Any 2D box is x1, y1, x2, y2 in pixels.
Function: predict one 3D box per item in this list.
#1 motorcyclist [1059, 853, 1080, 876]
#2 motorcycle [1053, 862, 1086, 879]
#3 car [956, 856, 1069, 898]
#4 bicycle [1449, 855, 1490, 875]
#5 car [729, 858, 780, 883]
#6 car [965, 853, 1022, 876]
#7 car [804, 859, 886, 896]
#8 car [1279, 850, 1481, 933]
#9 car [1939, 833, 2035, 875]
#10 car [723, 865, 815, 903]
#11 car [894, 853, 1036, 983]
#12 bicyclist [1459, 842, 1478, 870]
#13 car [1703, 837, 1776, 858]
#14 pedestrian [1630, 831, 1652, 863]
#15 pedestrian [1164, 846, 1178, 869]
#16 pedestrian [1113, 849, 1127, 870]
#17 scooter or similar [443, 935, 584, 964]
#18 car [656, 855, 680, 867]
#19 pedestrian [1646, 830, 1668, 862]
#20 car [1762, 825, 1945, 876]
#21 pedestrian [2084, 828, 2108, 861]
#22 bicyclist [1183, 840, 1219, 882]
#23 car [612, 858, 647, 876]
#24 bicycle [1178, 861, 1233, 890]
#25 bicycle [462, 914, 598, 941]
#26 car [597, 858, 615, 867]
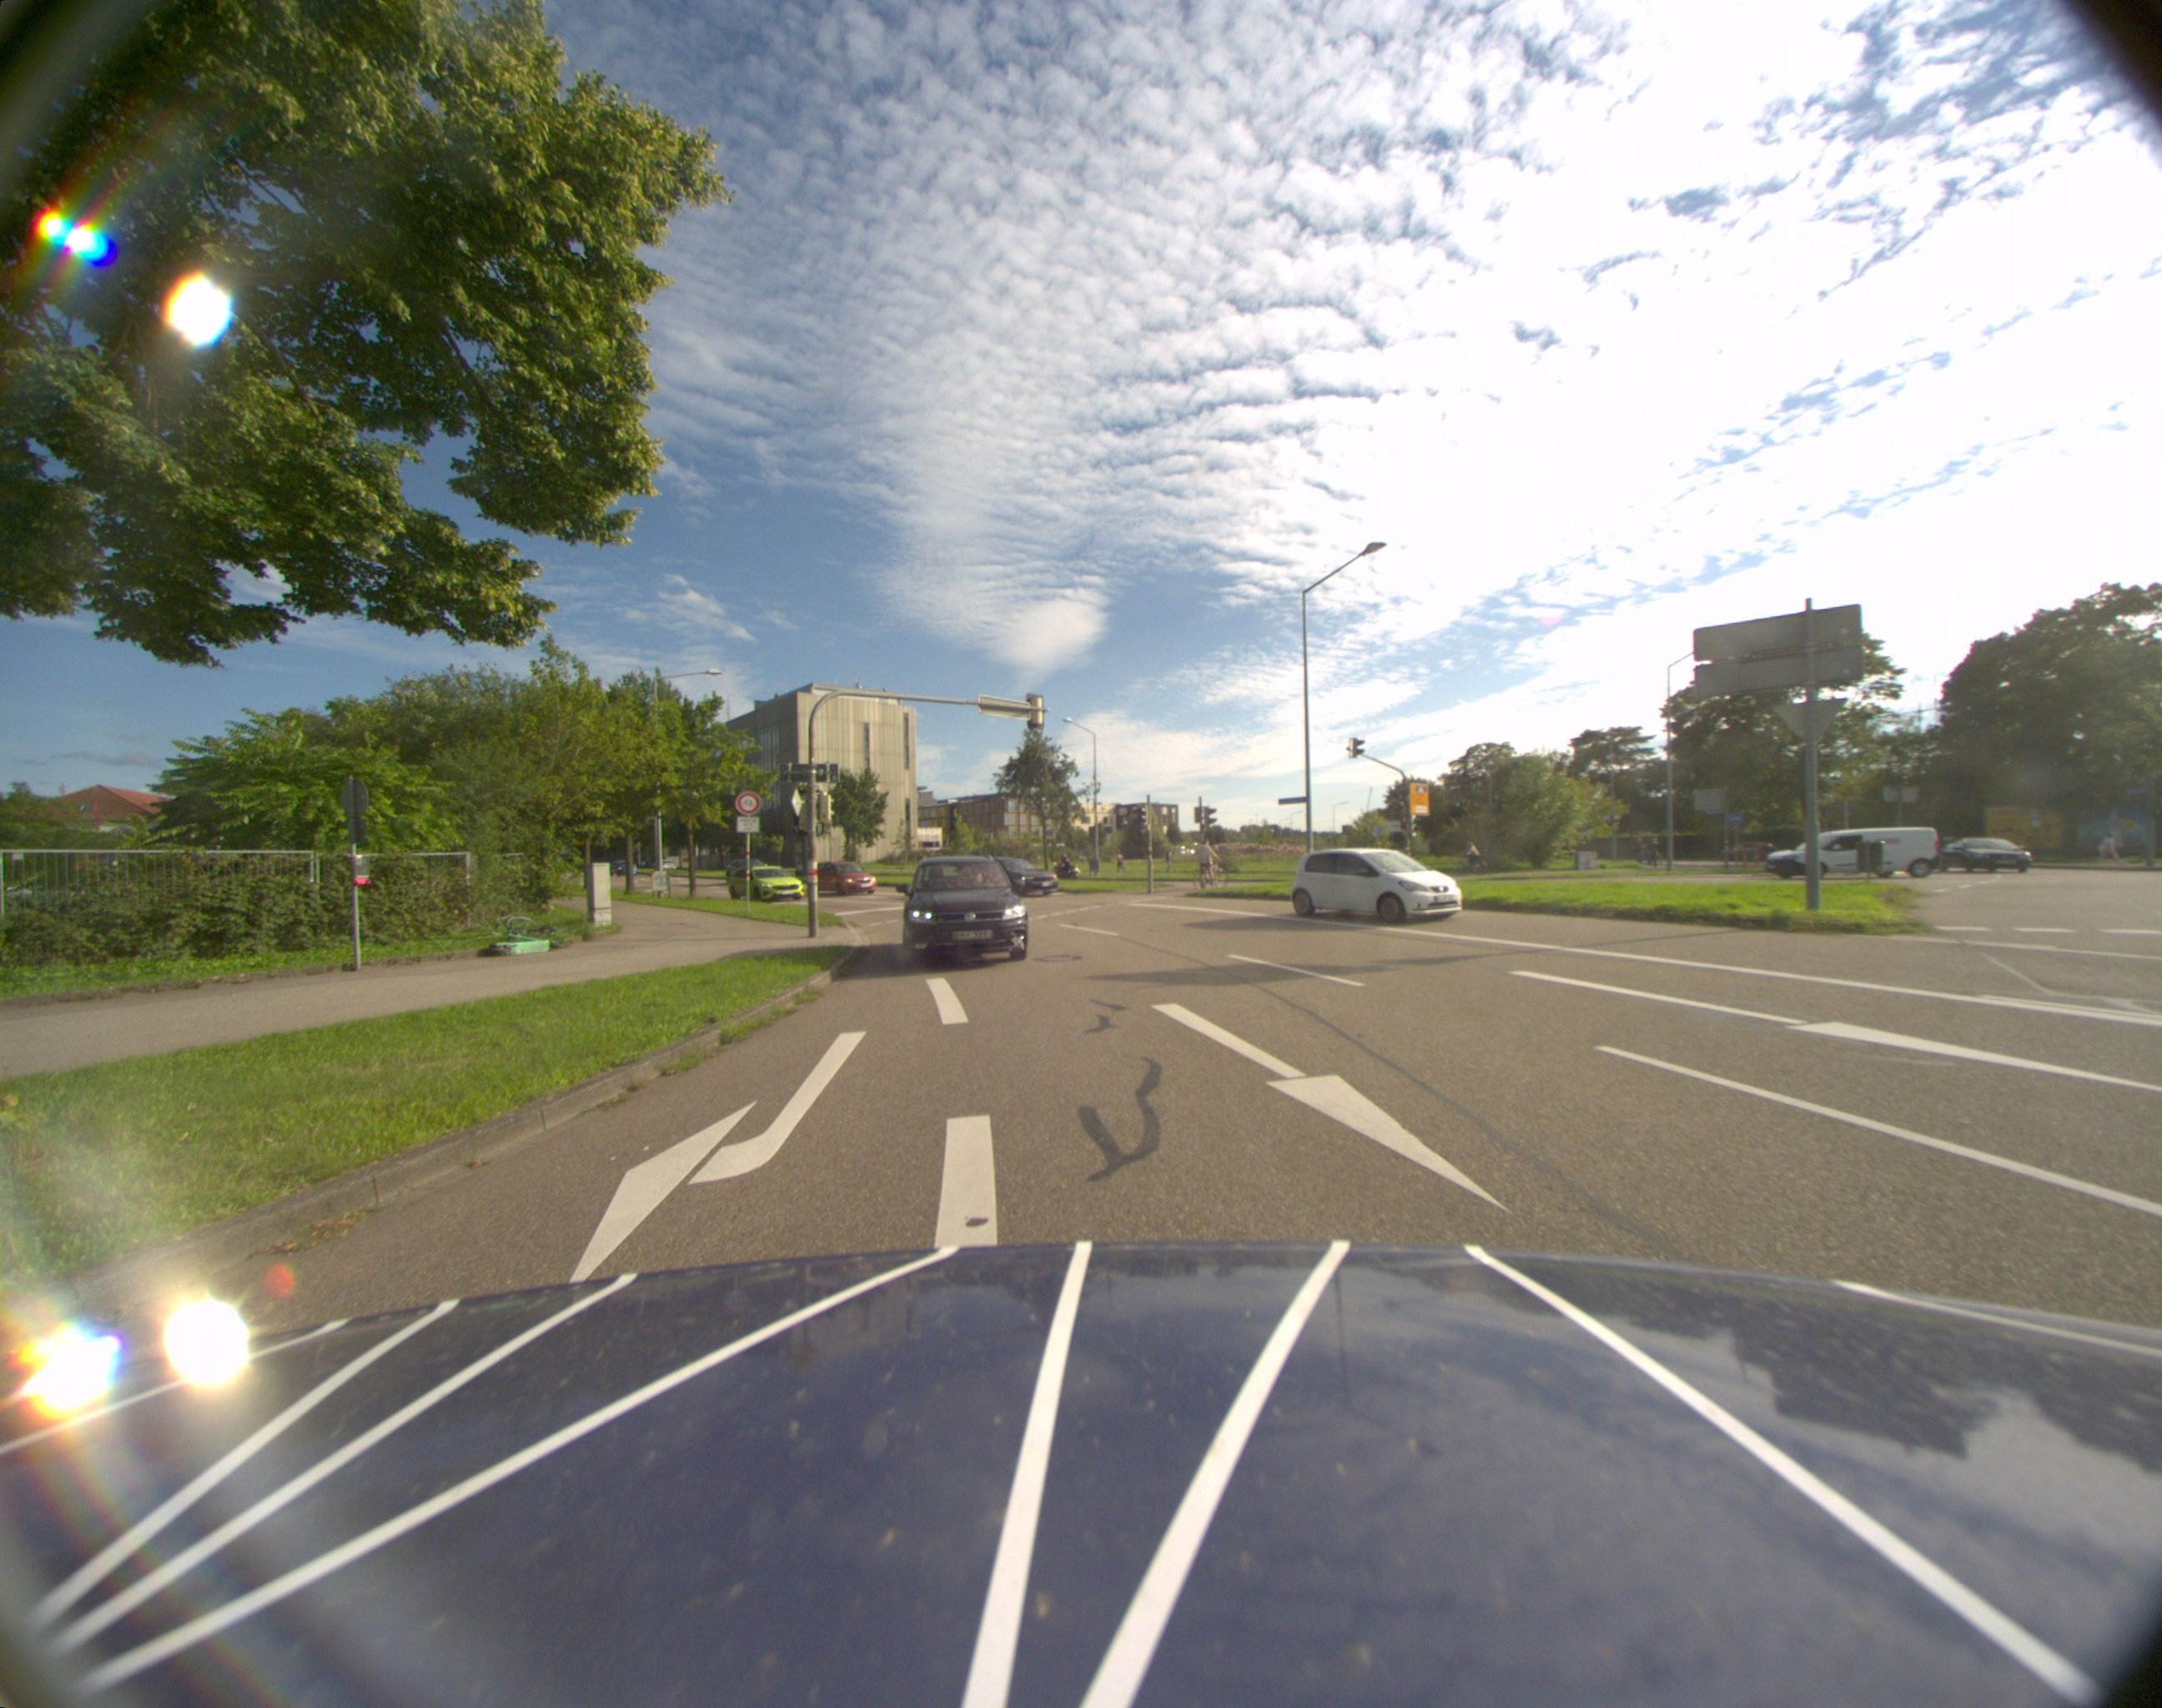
[{"bbox_3d":[-0.693,0.624,45.696,0.940,1.358,0.786,0,1,45],"label":"motorcyclist"},{"bbox_3d":[-0.705,0.959,45.722,2.018,0.981,0.786,-1,1,44],"label":"motorcycle"},{"bbox_3d":[-2.673,0.825,28.879,1.828,1.412,4.434,-4,2,-44],"label":"car"},{"bbox_3d":[20.116,0.558,39.396,1.837,0.983,0.610,-1,3,-2],"label":"bicycle"},{"bbox_3d":[-21.177,1.042,49.220,1.698,1.466,4.215,-3,1,-43],"label":"car"},{"bbox_3d":[-5.982,0.728,51.510,1.787,1.492,3.983,1,-1,-44],"label":"car"},{"bbox_3d":[-10.639,1.017,34.150,4.215,1.466,1.698,-1,2,45],"label":"car"},{"bbox_3d":[6.143,0.676,15.993,1.769,1.456,3.651,-3,2,-28],"label":"car"},{"bbox_3d":[37.297,-0.025,31.395,1.681,1.493,4.001,-1,2,37],"label":"car"},{"bbox_3d":[-13.172,1.211,31.949,1.901,1.412,4.595,-3,1,-45],"label":"car"},{"bbox_3d":[-2.117,0.876,13.024,1.873,1.646,5.009,-3,1,-12],"label":"car"},{"bbox_3d":[20.086,0.095,39.386,0.698,1.438,0.610,-1,2,-3],"label":"bicyclist"},{"bbox_3d":[49.052,-0.501,56.681,1.768,1.412,3.997,-2,1,-6],"label":"car"},{"bbox_3d":[34.156,-0.440,46.349,0.864,1.906,0.898,-2,3,23],"label":"pedestrian"},{"bbox_3d":[6.323,0.241,53.548,0.630,1.620,0.656,-4,2,-41],"label":"pedestrian"},{"bbox_3d":[2.941,0.407,56.809,0.629,1.500,0.754,-6,4,-40],"label":"pedestrian"},{"bbox_3d":[-10.011,1.669,13.472,1.290,0.279,1.556,-1,0,23],"label":"scooter or similar"},{"bbox_3d":[-51.633,0.822,94.966,1.689,1.425,3.983,-2,1,-43],"label":"car"},{"bbox_3d":[35.028,-0.478,46.206,0.864,1.906,0.898,-2,3,23],"label":"pedestrian"},{"bbox_3d":[28.672,-0.087,28.379,4.552,1.814,1.688,0,-1,16],"label":"car"},{"bbox_3d":[50.182,-0.455,37.577,0.548,1.615,0.506,-1,1,-4],"label":"pedestrian"},{"bbox_3d":[4.499,0.246,28.531,0.867,1.547,0.995,-2,1,-38],"label":"bicyclist"},{"bbox_3d":[-45.118,1.311,75.847,2.004,1.652,4.789,-2,1,-43],"label":"car"},{"bbox_3d":[4.699,0.784,28.626,1.965,1.001,0.999,-2,1,-38],"label":"bicycle"},{"bbox_3d":[-11.564,1.550,15.983,2.246,0.344,1.091,-4,0,13],"label":"bicycle"},{"bbox_3d":[-81.996,1.419,131.113,1.860,1.425,4.056,-2,1,-43],"label":"car"}]
